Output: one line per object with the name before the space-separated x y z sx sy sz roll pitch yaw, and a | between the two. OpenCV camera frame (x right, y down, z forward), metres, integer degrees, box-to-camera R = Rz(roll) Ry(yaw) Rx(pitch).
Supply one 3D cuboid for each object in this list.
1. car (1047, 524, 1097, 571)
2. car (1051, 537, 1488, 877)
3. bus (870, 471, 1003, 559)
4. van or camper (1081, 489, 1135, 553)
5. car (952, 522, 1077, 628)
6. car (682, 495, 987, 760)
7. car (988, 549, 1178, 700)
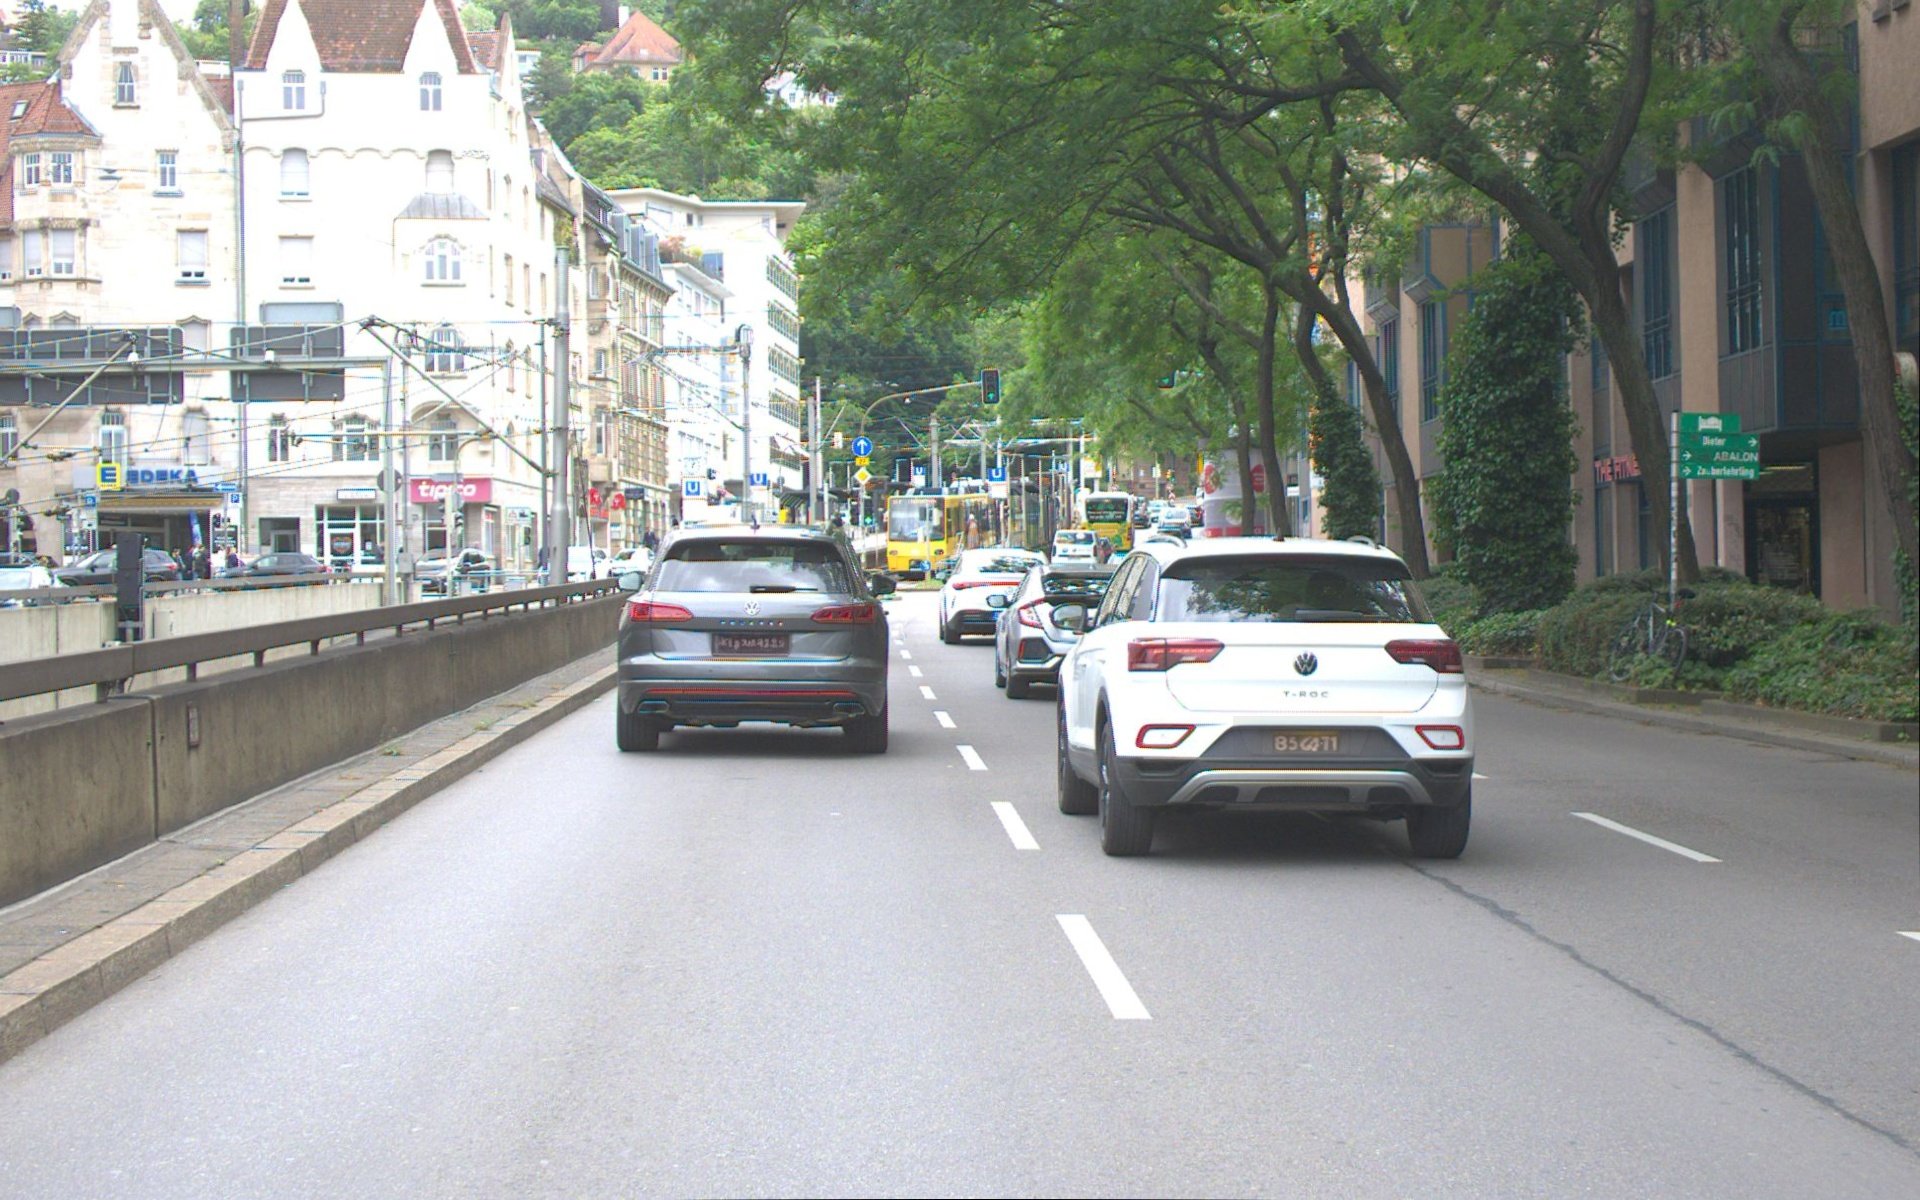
car | 4.647 -2.184 142.835 1.832 1.868 4.871 -2 1 0
car | 1.479 0.457 17.812 1.797 1.540 3.936 0 1 -2
bus | -0.856 -3.671 147.908 3.850 3.519 17.243 -1 1 6
van or camper | 7.556 -4.053 175.298 2.627 3.167 5.803 -1 1 3
car | 0.834 -0.419 54.265 1.832 1.512 3.767 -3 1 0
car | -1.018 0.127 25.438 1.970 1.689 4.226 2 2 -5
car | 1.254 0.216 36.628 1.833 1.427 4.148 0 2 0
